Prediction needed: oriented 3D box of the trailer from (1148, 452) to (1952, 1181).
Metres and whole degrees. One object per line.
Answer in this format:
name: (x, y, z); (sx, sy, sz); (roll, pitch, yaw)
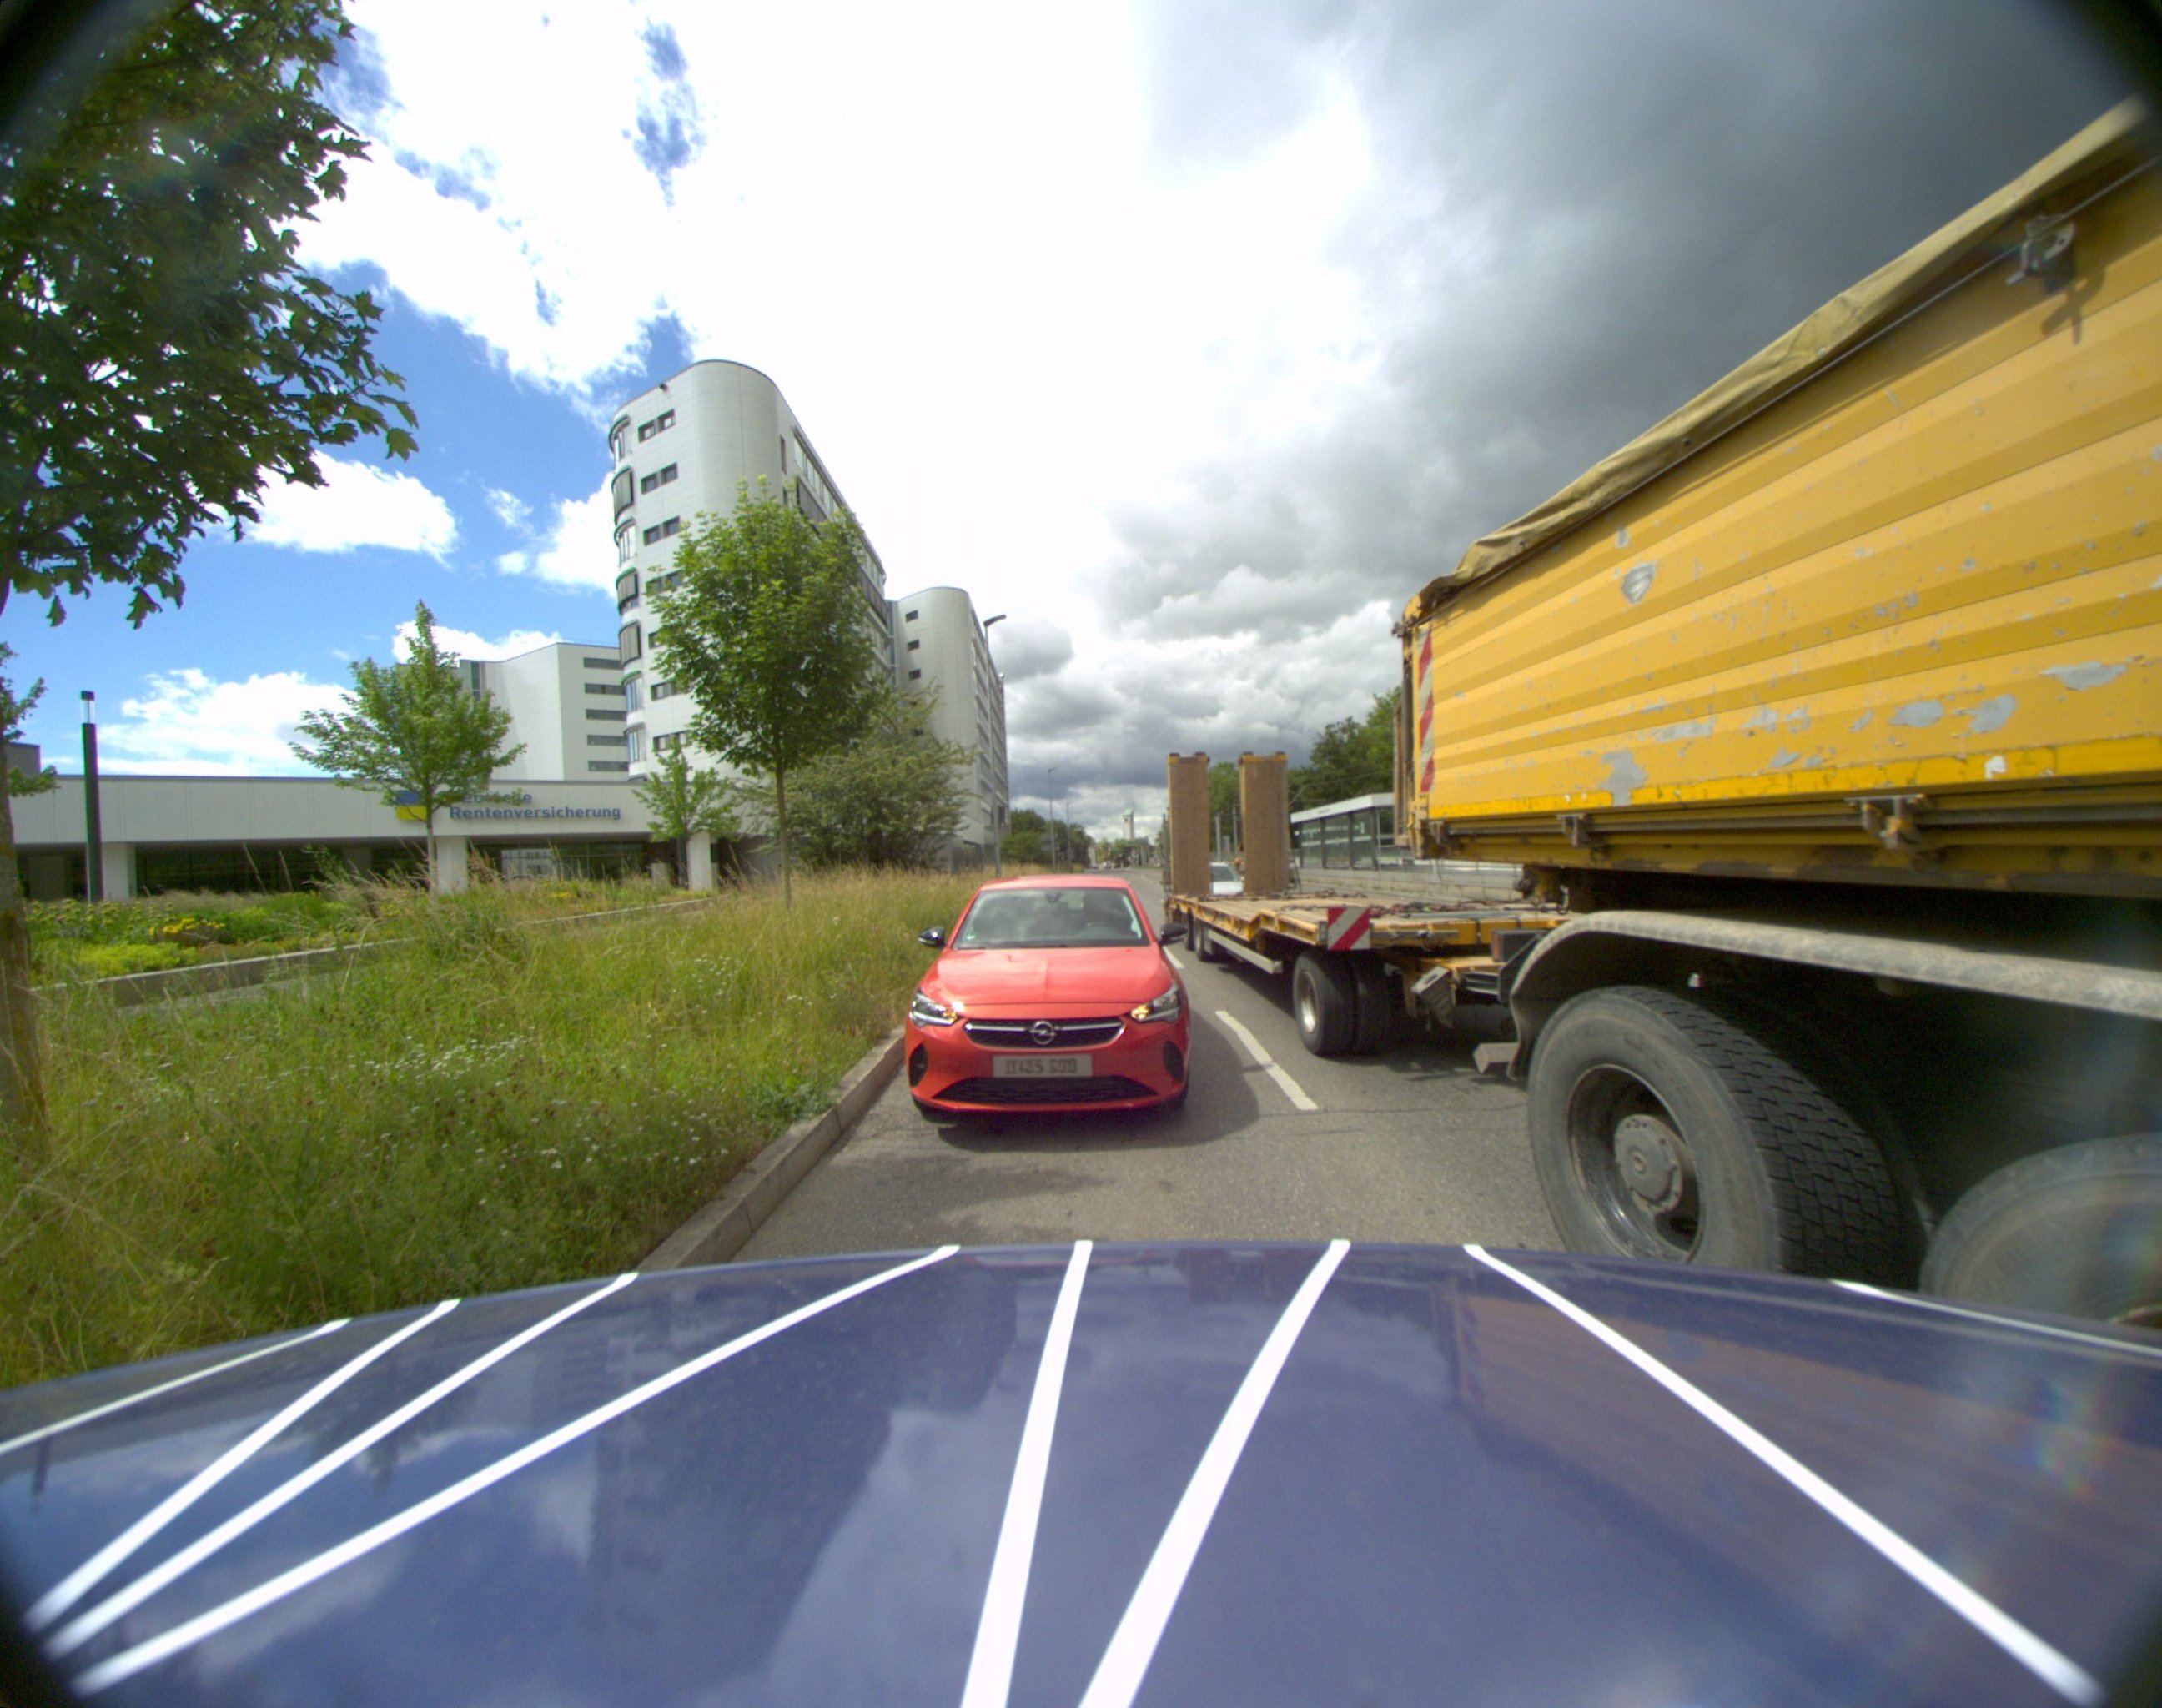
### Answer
trailer: (2.932, -0.169, 9.423); (3.057, 3.676, 10.965); (-2, 0, 0)

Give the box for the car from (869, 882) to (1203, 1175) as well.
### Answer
car: (-0.207, 0.993, 5.853); (1.749, 1.408, 3.676); (-1, 0, 1)

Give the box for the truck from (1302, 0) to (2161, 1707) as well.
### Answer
truck: (2.808, -0.054, 0.122); (3.057, 3.374, 8.006); (-2, 0, 0)

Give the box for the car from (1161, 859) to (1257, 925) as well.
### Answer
car: (3.080, 0.881, 19.022); (1.784, 1.408, 3.785); (-2, 0, 1)
